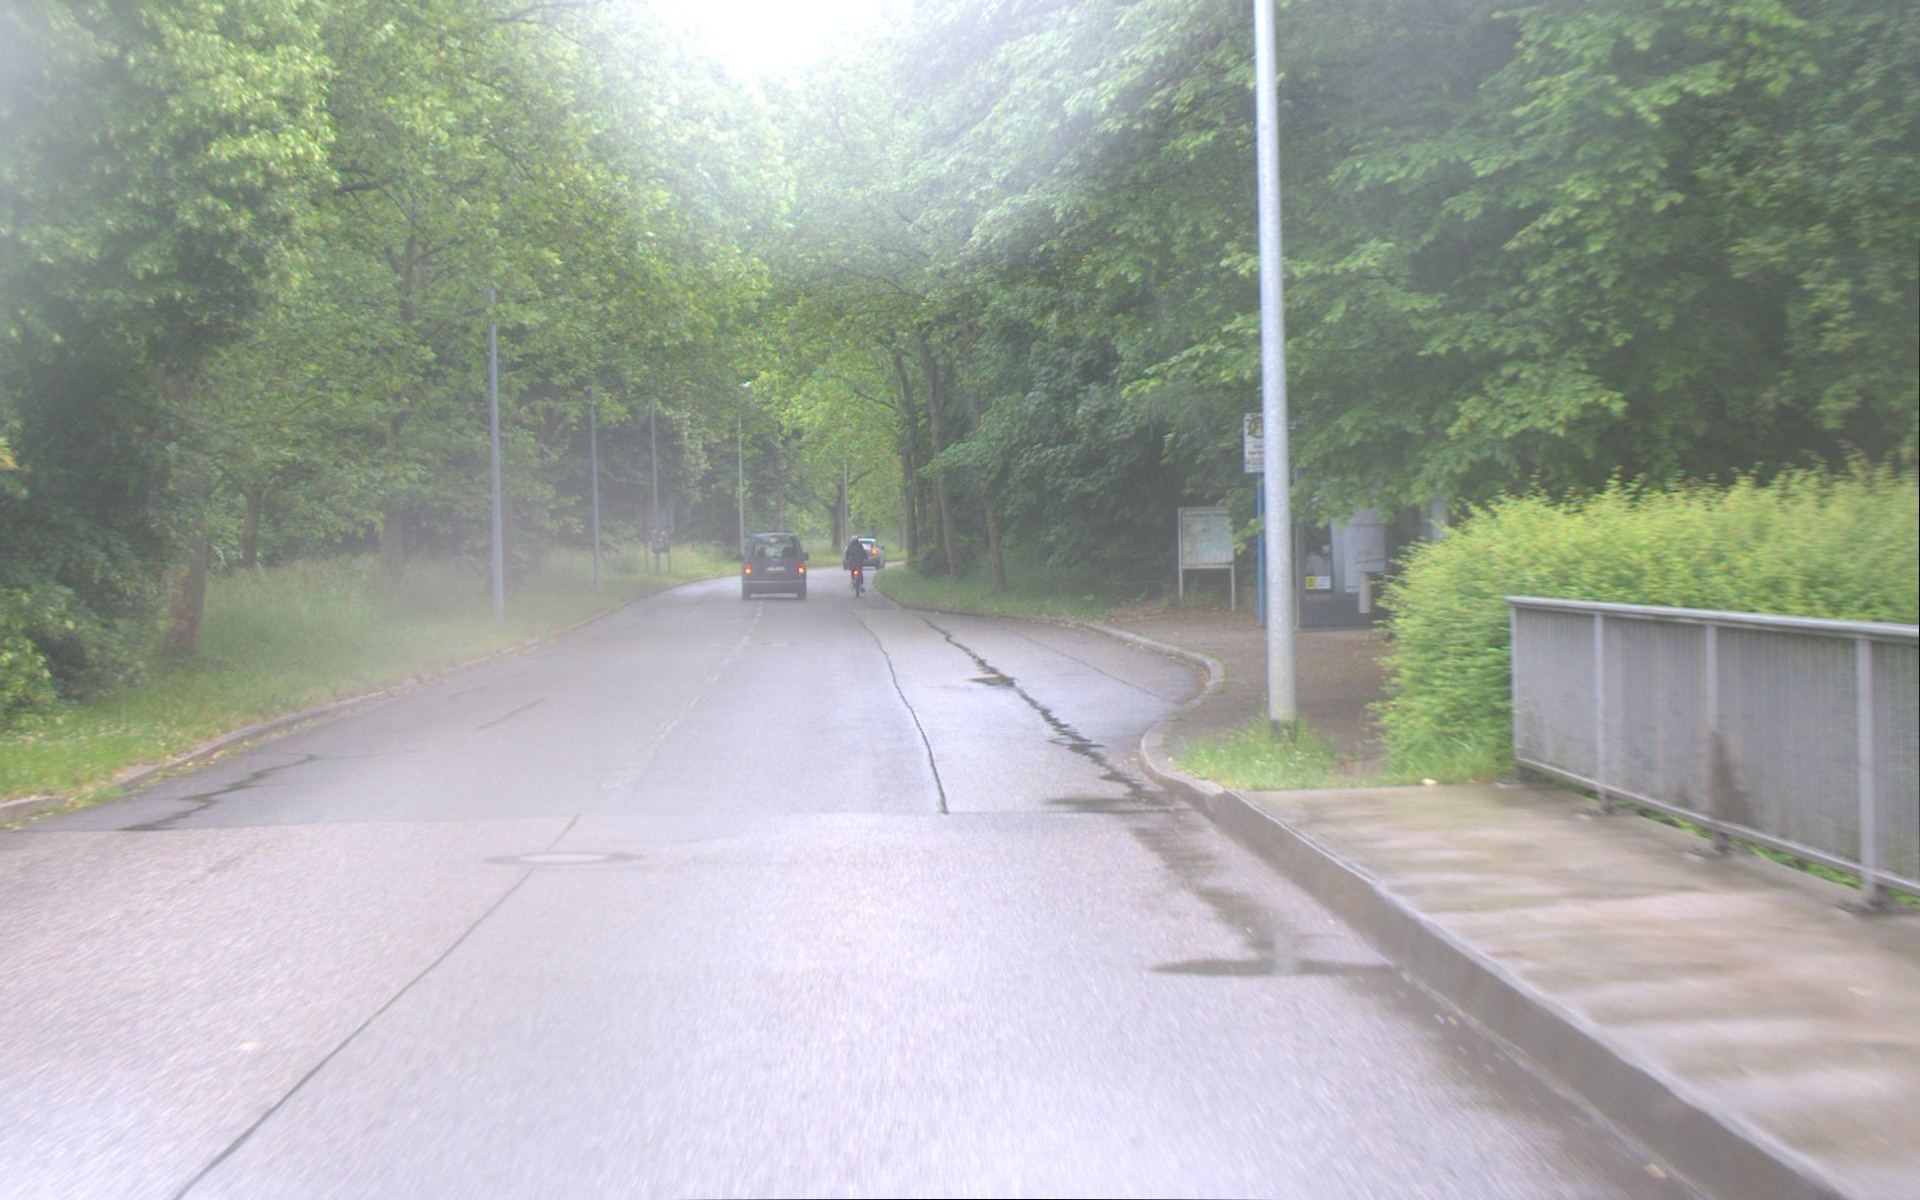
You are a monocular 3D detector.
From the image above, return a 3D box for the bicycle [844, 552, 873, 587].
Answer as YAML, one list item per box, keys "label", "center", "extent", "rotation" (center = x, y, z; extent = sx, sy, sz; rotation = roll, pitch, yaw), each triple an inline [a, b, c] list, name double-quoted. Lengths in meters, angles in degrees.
- label: "bicycle"
  center: [-2.881, -0.866, 97.600]
  extent: [0.730, 0.970, 2.173]
  rotation: [0, 1, 1]

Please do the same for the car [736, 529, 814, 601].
- label: "car"
  center: [-5.129, -0.989, 95.058]
  extent: [1.985, 1.919, 4.001]
  rotation: [-1, 1, -5]

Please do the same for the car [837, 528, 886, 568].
- label: "car"
  center: [-4.599, -2.417, 160.446]
  extent: [1.993, 1.809, 4.001]
  rotation: [0, 1, -5]

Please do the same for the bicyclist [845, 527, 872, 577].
- label: "bicyclist"
  center: [-2.876, -1.359, 97.515]
  extent: [0.730, 1.406, 0.973]
  rotation: [0, 1, 1]
